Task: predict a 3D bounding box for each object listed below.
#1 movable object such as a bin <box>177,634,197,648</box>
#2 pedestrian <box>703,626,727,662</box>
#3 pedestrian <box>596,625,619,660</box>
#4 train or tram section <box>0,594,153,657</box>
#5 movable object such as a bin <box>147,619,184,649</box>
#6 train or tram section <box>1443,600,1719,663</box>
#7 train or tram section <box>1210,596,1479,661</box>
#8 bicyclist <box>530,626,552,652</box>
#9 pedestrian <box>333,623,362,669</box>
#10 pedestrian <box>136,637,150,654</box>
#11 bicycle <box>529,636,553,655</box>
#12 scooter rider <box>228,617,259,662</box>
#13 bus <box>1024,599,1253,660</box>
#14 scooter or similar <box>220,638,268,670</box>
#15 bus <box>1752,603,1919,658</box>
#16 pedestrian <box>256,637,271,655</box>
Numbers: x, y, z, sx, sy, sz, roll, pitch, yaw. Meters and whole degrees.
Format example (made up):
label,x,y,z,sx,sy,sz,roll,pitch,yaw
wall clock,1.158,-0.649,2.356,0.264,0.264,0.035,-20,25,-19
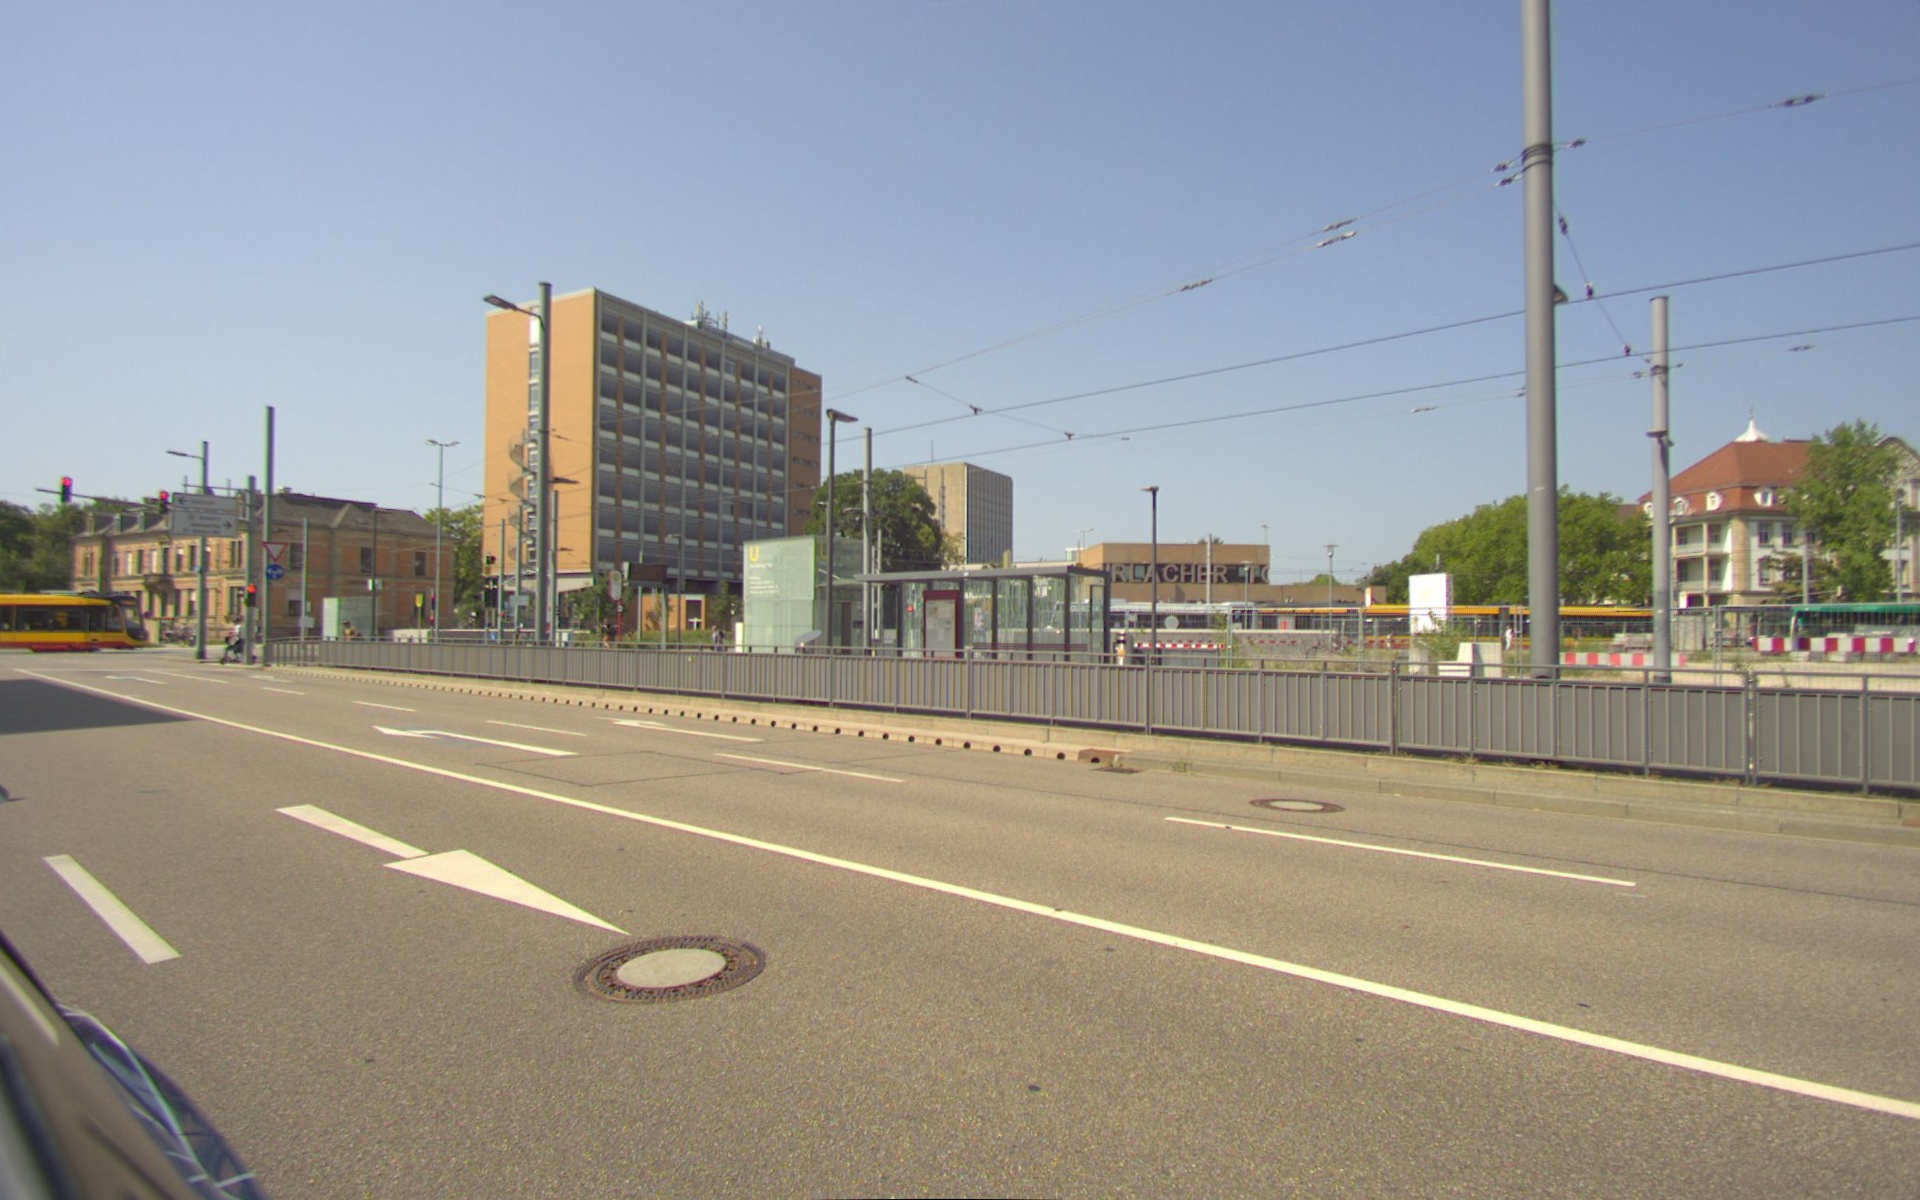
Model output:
label,x,y,z,sx,sy,sz,roll,pitch,yaw
movable object such as a bin,-63.915,3.389,83.705,1.022,1.093,0.822,-1,-3,-7
pedestrian,-12.371,2.230,51.161,0.959,1.793,0.774,0,-2,44
pedestrian,-18.459,2.205,52.998,0.959,1.793,0.774,0,-2,44
train or tram section,-54.478,1.487,58.646,12.012,3.588,2.602,1,-2,-14
movable object such as a bin,-72.953,3.169,92.919,4.452,2.692,1.794,-2,-3,40
train or tram section,41.746,2.173,68.371,16.419,3.951,4.067,1,-3,-4
train or tram section,25.324,1.976,67.194,16.419,3.951,4.067,1,-3,-4
bicyclist,-24.180,2.263,58.411,0.980,1.470,0.865,-2,-3,45
pedestrian,-22.874,1.709,37.797,0.796,1.672,0.570,-3,-3,23
pedestrian,-66.440,3.718,82.277,0.803,1.362,0.720,2,-3,-41
bicycle,-24.194,2.592,58.424,1.914,1.077,0.606,-2,-3,45
scooter rider,-26.913,1.479,38.004,0.779,1.686,0.763,-2,-3,41
bus,10.052,1.707,57.540,12.563,3.356,2.680,0,-2,-5
scooter or similar,-26.853,2.023,37.986,0.709,1.157,1.324,-2,-3,41
bus,55.251,1.826,61.722,12.246,3.055,2.544,-1,-3,-5
pedestrian,-56.446,3.723,82.029,0.787,1.405,0.836,-2,-3,43
